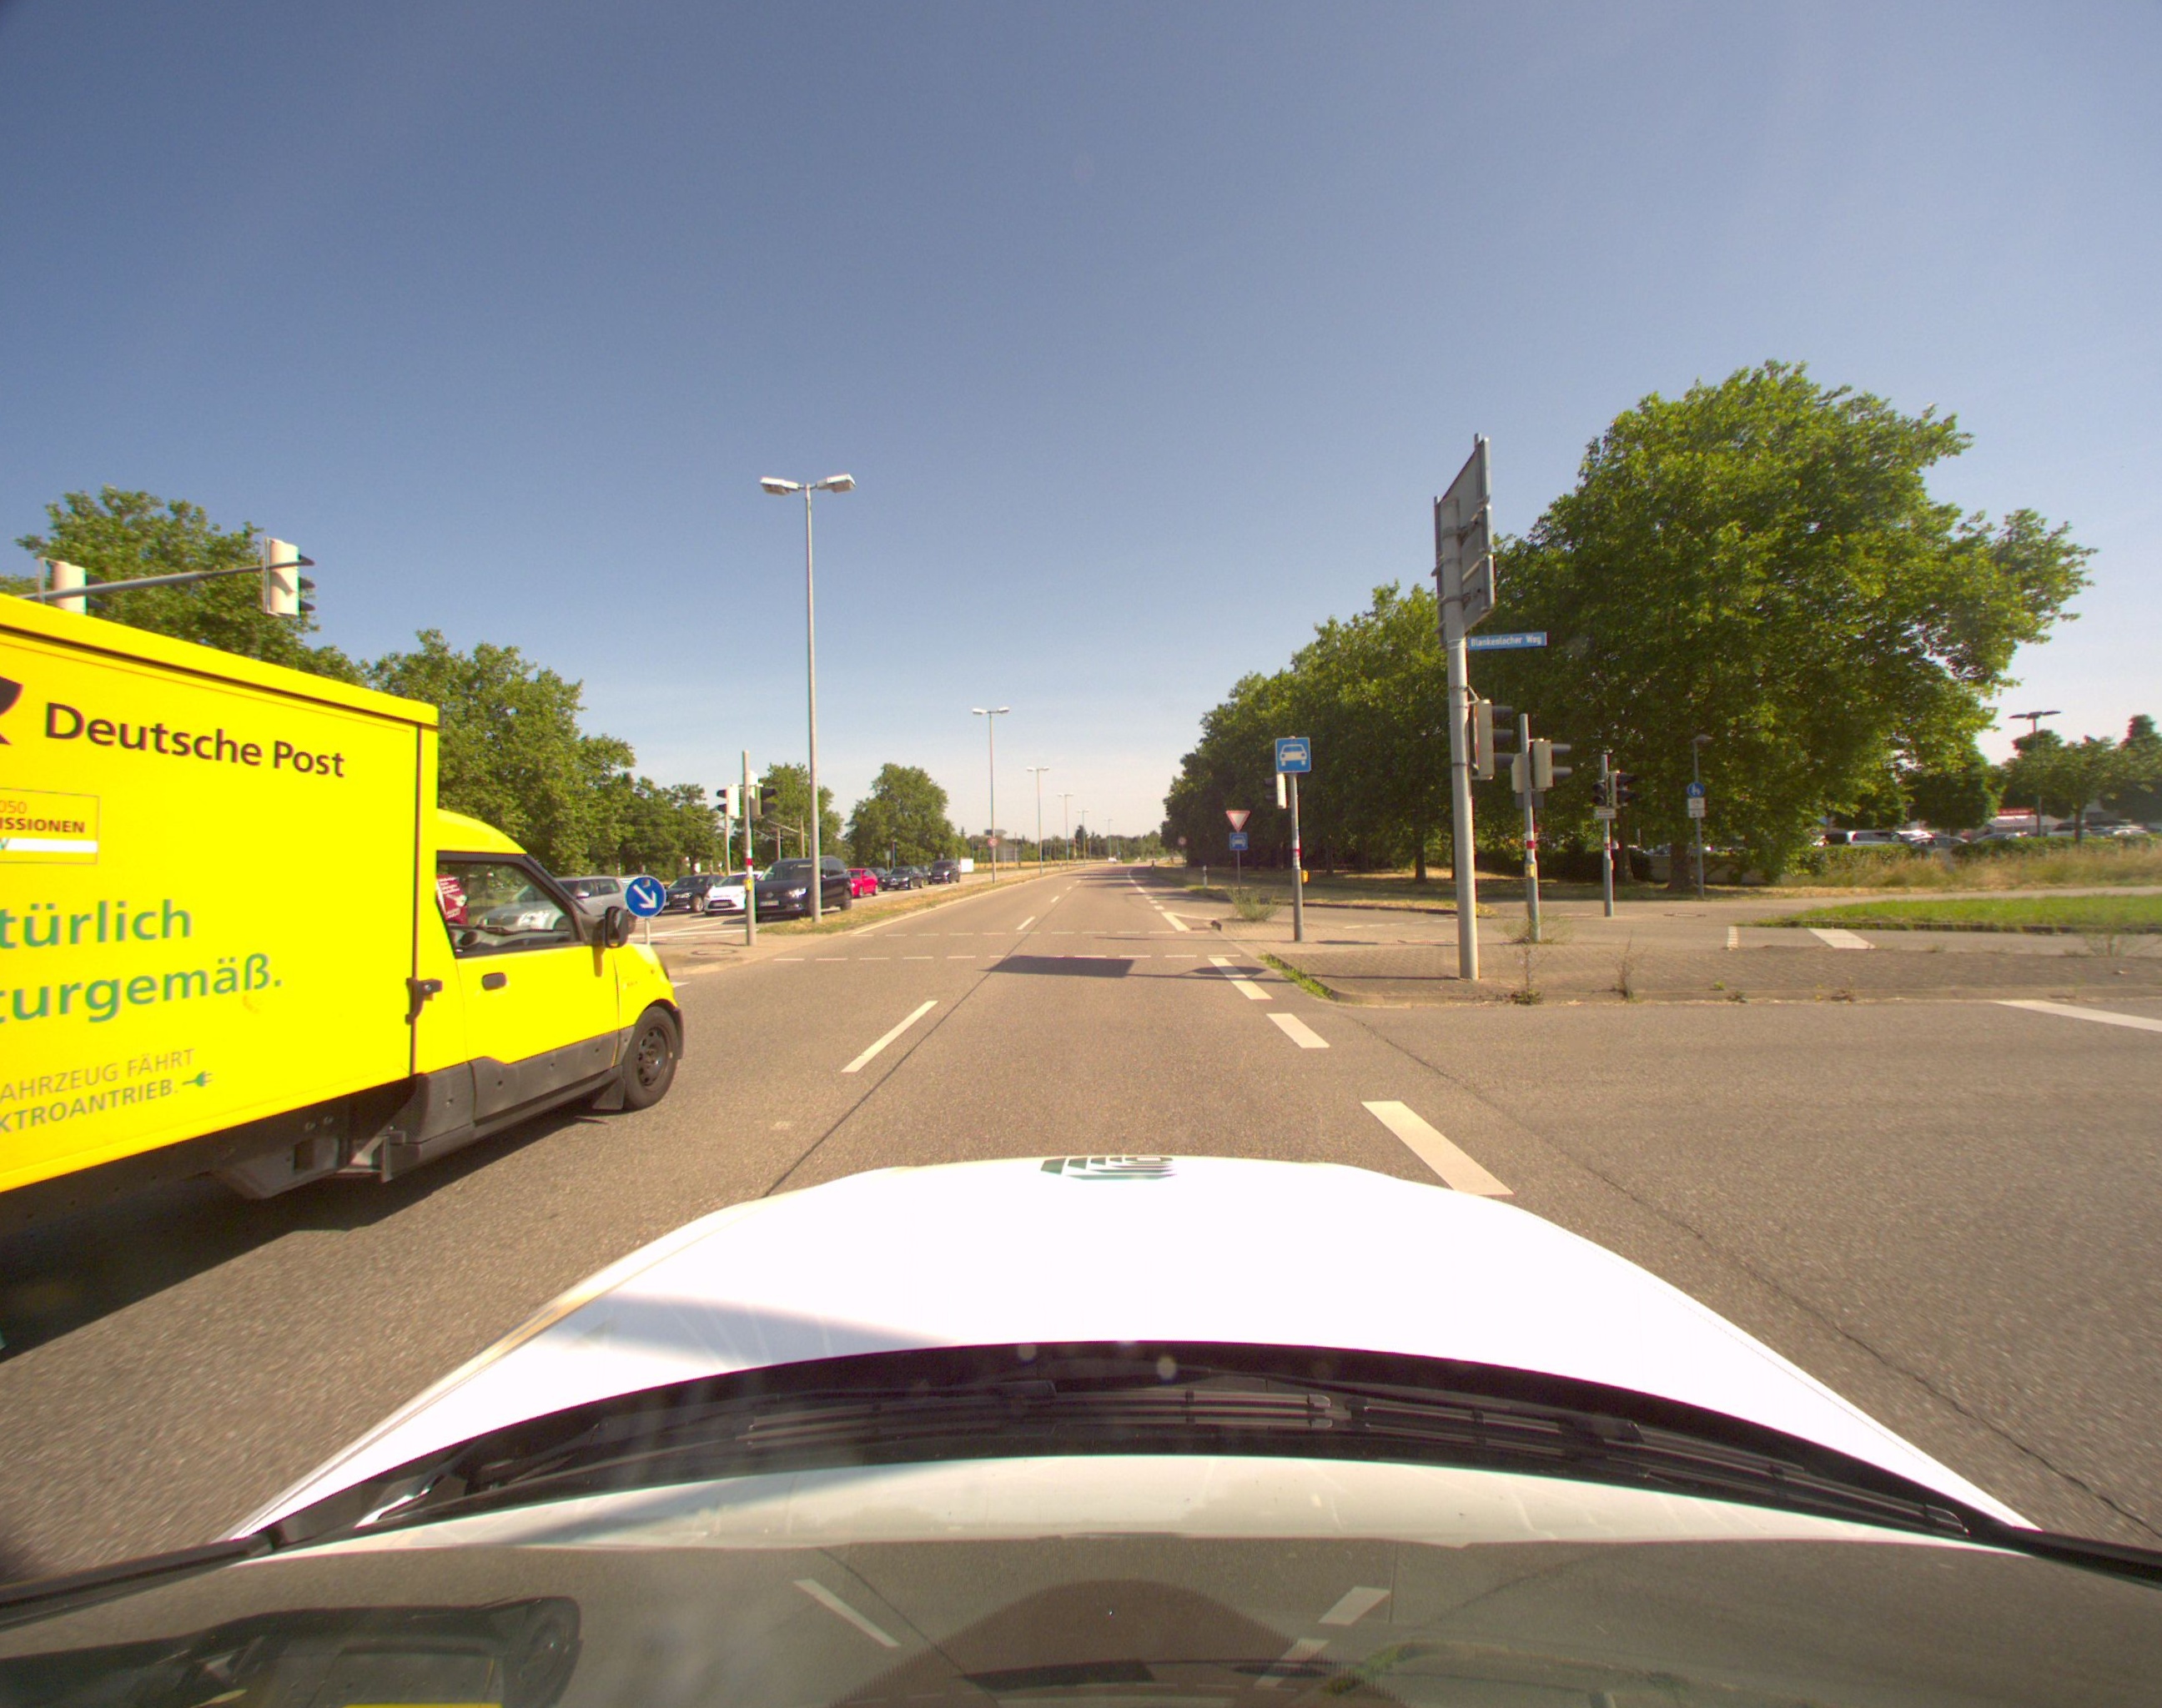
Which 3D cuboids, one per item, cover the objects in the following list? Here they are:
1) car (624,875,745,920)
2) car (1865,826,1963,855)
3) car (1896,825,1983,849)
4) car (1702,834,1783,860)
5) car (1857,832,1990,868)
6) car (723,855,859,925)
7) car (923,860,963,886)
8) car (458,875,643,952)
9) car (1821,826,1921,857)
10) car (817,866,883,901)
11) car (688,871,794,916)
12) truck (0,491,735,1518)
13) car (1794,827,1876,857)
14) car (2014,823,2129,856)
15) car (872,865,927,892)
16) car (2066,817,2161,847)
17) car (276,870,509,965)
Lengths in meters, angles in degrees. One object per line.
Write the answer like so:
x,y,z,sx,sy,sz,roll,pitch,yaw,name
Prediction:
-15.734,1.654,32.731,1.987,1.474,5.617,-2,0,1,car
57.706,-0.919,56.472,4.470,1.750,1.991,-2,-1,6,car
69.596,-1.330,66.100,4.462,1.750,1.994,-2,-1,12,car
50.767,-0.531,62.575,4.470,1.750,1.991,-2,-1,6,car
44.726,-0.166,43.348,1.991,1.750,4.471,-2,-1,-24,car
-8.149,0.942,23.395,1.972,1.750,4.512,-2,0,4,car
-10.366,1.390,61.322,1.973,1.779,4.493,-2,-1,3,car
-11.953,1.271,18.689,1.613,1.457,3.872,-2,-1,1,car
48.909,-0.752,50.491,3.963,1.728,2.005,-2,-1,9,car
-10.952,1.355,38.915,1.808,1.485,4.002,-2,-1,3,car
-11.807,1.332,28.552,1.820,1.386,3.847,-2,-1,4,car
-3.623,0.380,2.909,2.104,2.457,5.918,-1,-1,1,truck
55.704,-0.856,60.225,3.963,2.014,2.005,-2,-1,9,car
58.327,-0.849,48.042,3.963,1.728,2.005,-2,-1,9,car
-10.844,1.409,48.995,1.972,1.457,4.455,-2,-1,4,car
67.988,-1.410,53.004,4.452,1.750,1.999,-2,-1,24,car
-15.299,1.315,18.468,1.700,1.770,4.226,-3,-1,-2,car
